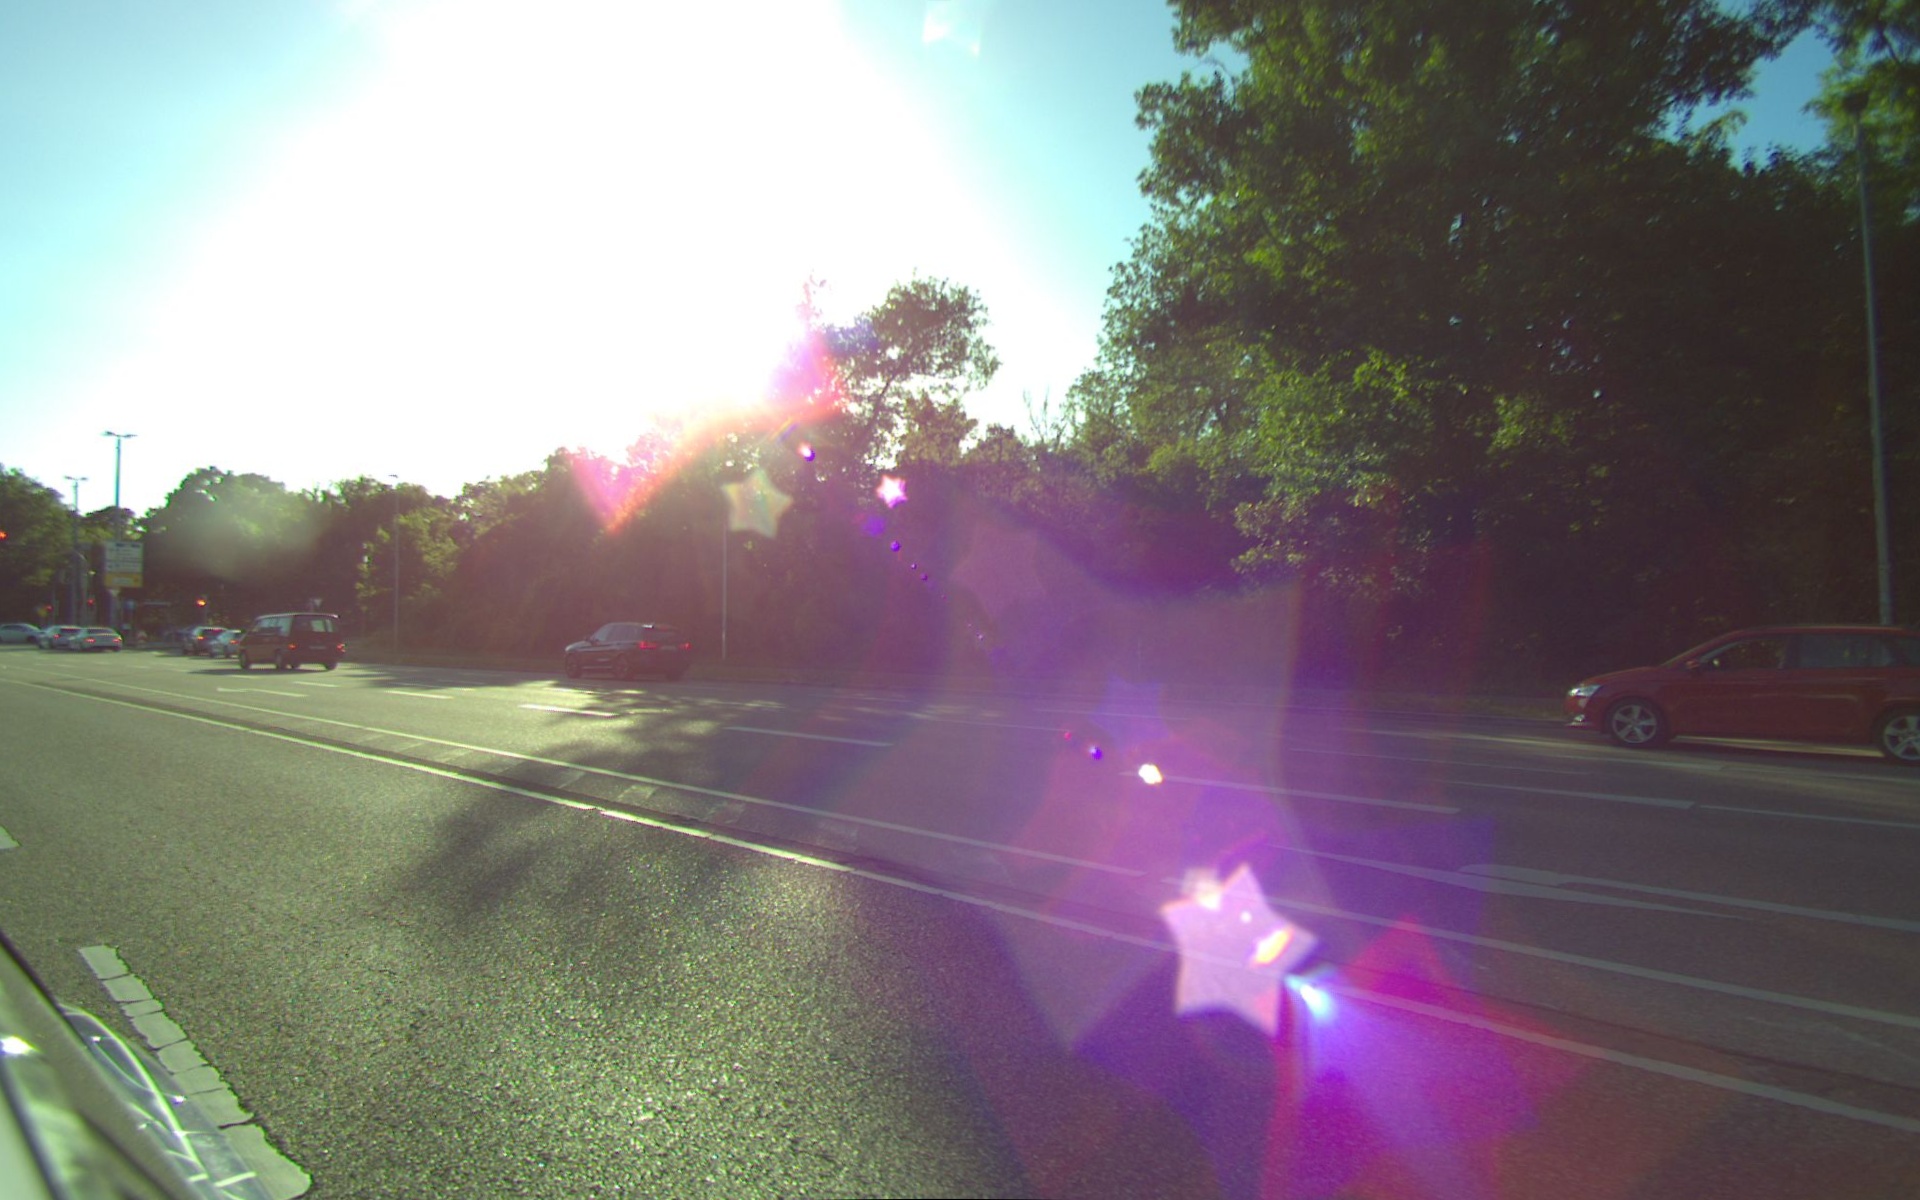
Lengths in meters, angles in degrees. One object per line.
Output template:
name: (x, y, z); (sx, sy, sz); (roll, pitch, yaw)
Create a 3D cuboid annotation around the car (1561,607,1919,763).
car: (9.627, 0.909, 11.672); (4.336, 1.576, 1.973); (-2, -3, 41)

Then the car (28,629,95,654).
car: (-56.283, 2.587, 63.390); (4.830, 1.462, 1.977); (-1, -3, 35)

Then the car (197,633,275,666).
car: (-38.056, 2.575, 53.145); (4.640, 1.576, 1.975); (-1, -5, 37)

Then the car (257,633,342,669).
car: (-30.775, 2.364, 47.099); (4.643, 1.576, 1.974); (-1, -5, 39)

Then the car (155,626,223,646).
car: (-67.267, 3.135, 88.354); (4.666, 1.700, 2.004); (1, -3, -38)

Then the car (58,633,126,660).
car: (-50.478, 2.704, 58.843); (4.639, 1.462, 1.975); (-1, -3, 37)

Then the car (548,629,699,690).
car: (-10.036, 1.704, 30.020); (4.839, 1.649, 1.974); (-2, -3, 39)

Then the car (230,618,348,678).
car: (-23.654, 1.678, 35.614); (4.639, 1.977, 1.975); (-1, -3, 37)

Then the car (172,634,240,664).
car: (-43.150, 2.805, 57.903); (4.643, 1.576, 1.974); (-1, -5, 39)

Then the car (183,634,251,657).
car: (-49.293, 2.991, 67.258); (1.966, 1.462, 4.660); (0, -2, -14)

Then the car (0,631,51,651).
car: (-71.195, 3.068, 75.993); (3.935, 1.530, 2.004); (0, -2, -9)
